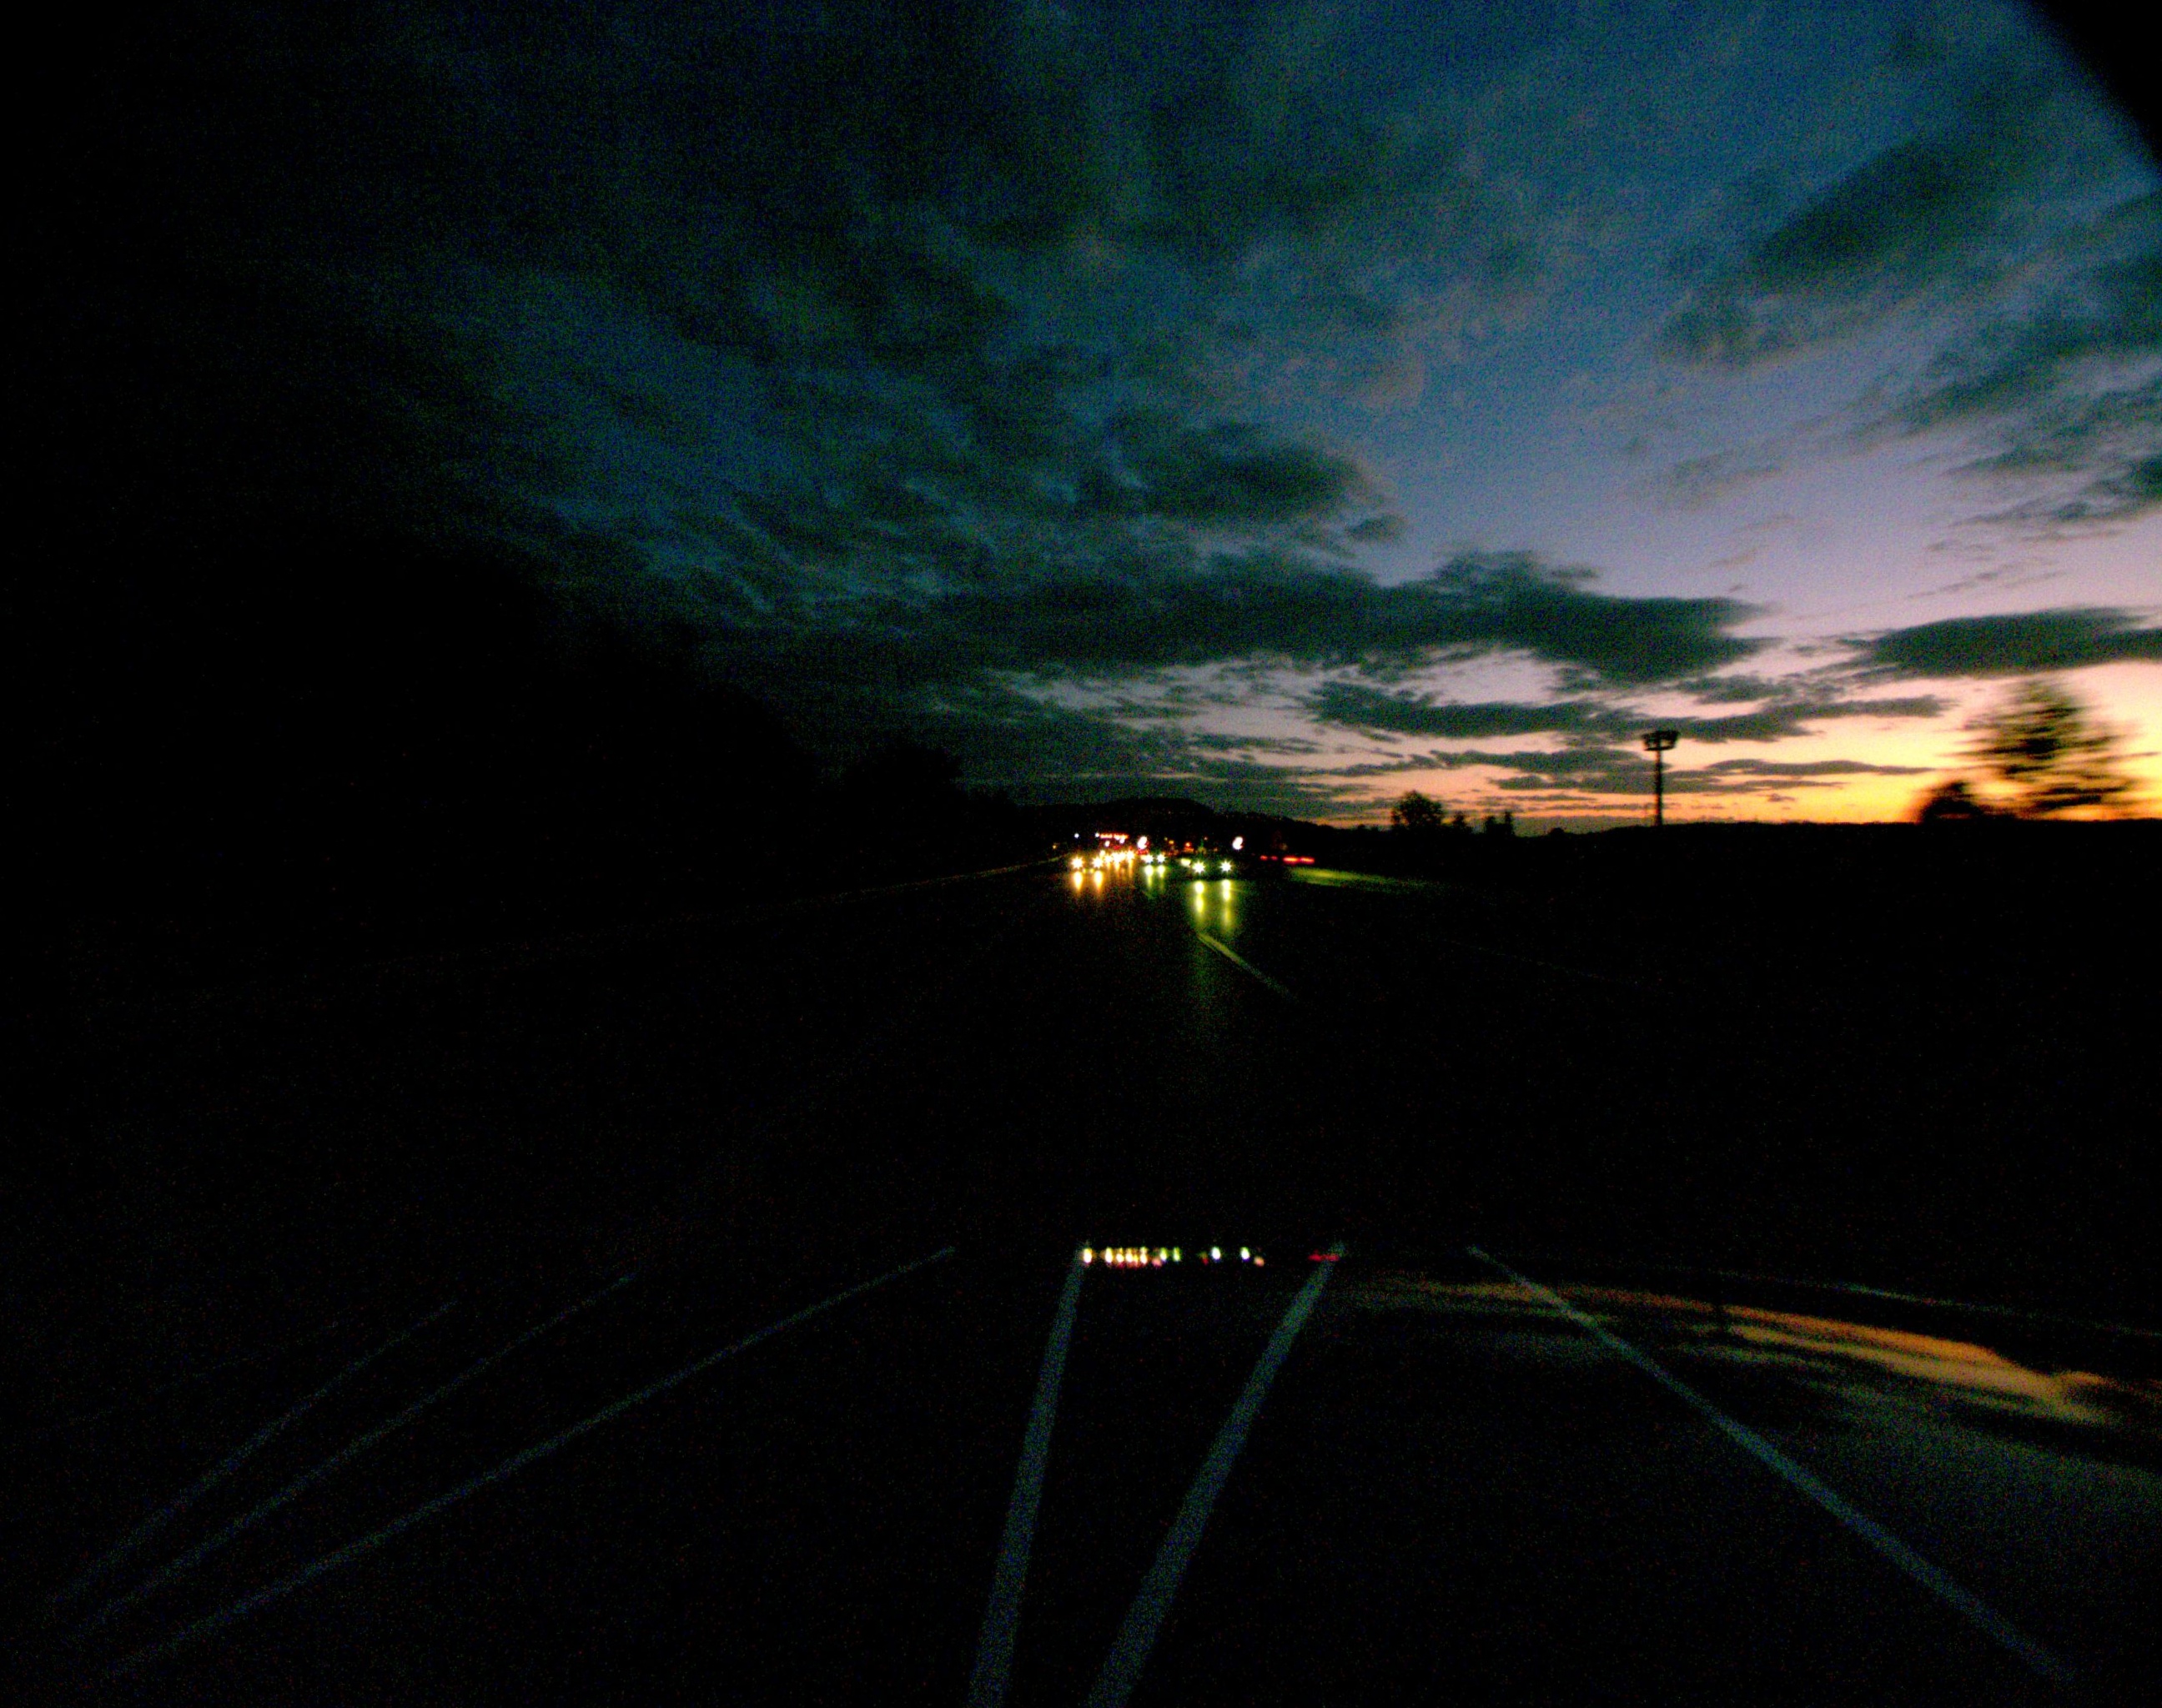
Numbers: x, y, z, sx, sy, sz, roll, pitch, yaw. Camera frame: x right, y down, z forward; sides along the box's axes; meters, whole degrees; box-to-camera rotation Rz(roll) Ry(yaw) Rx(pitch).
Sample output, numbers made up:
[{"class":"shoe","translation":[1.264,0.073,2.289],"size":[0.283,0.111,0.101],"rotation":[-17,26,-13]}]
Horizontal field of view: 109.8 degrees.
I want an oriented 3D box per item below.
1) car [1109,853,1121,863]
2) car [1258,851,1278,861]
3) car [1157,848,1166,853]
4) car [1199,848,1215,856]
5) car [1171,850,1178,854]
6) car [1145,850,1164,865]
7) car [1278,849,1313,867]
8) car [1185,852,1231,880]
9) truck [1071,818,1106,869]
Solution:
[{"class":"car","translation":[5.312,0.606,119.181],"size":[1.802,1.531,4.159],"rotation":[-2,1,1]},{"class":"car","translation":[24.856,0.266,101.209],"size":[1.722,1.171,4.000],"rotation":[-2,1,1]},{"class":"car","translation":[18.549,-0.808,174.828],"size":[1.697,0.983,3.565],"rotation":[-2,1,1]},{"class":"car","translation":[20.765,-0.336,125.415],"size":[1.936,1.171,4.000],"rotation":[-2,1,1]},{"class":"car","translation":[26.777,-0.604,216.904],"size":[1.540,1.184,3.609],"rotation":[-2,1,1]},{"class":"car","translation":[8.797,0.431,91.748],"size":[1.819,1.638,4.856],"rotation":[-2,1,0]},{"class":"car","translation":[16.640,0.321,59.053],"size":[1.658,1.281,3.645],"rotation":[-2,1,1]},{"class":"car","translation":[7.449,0.647,45.040],"size":[1.819,1.429,5.394],"rotation":[-2,1,0]},{"class":"truck","translation":[0.765,-0.909,75.543],"size":[3.012,4.570,12.578],"rotation":[-2,0,1]}]
